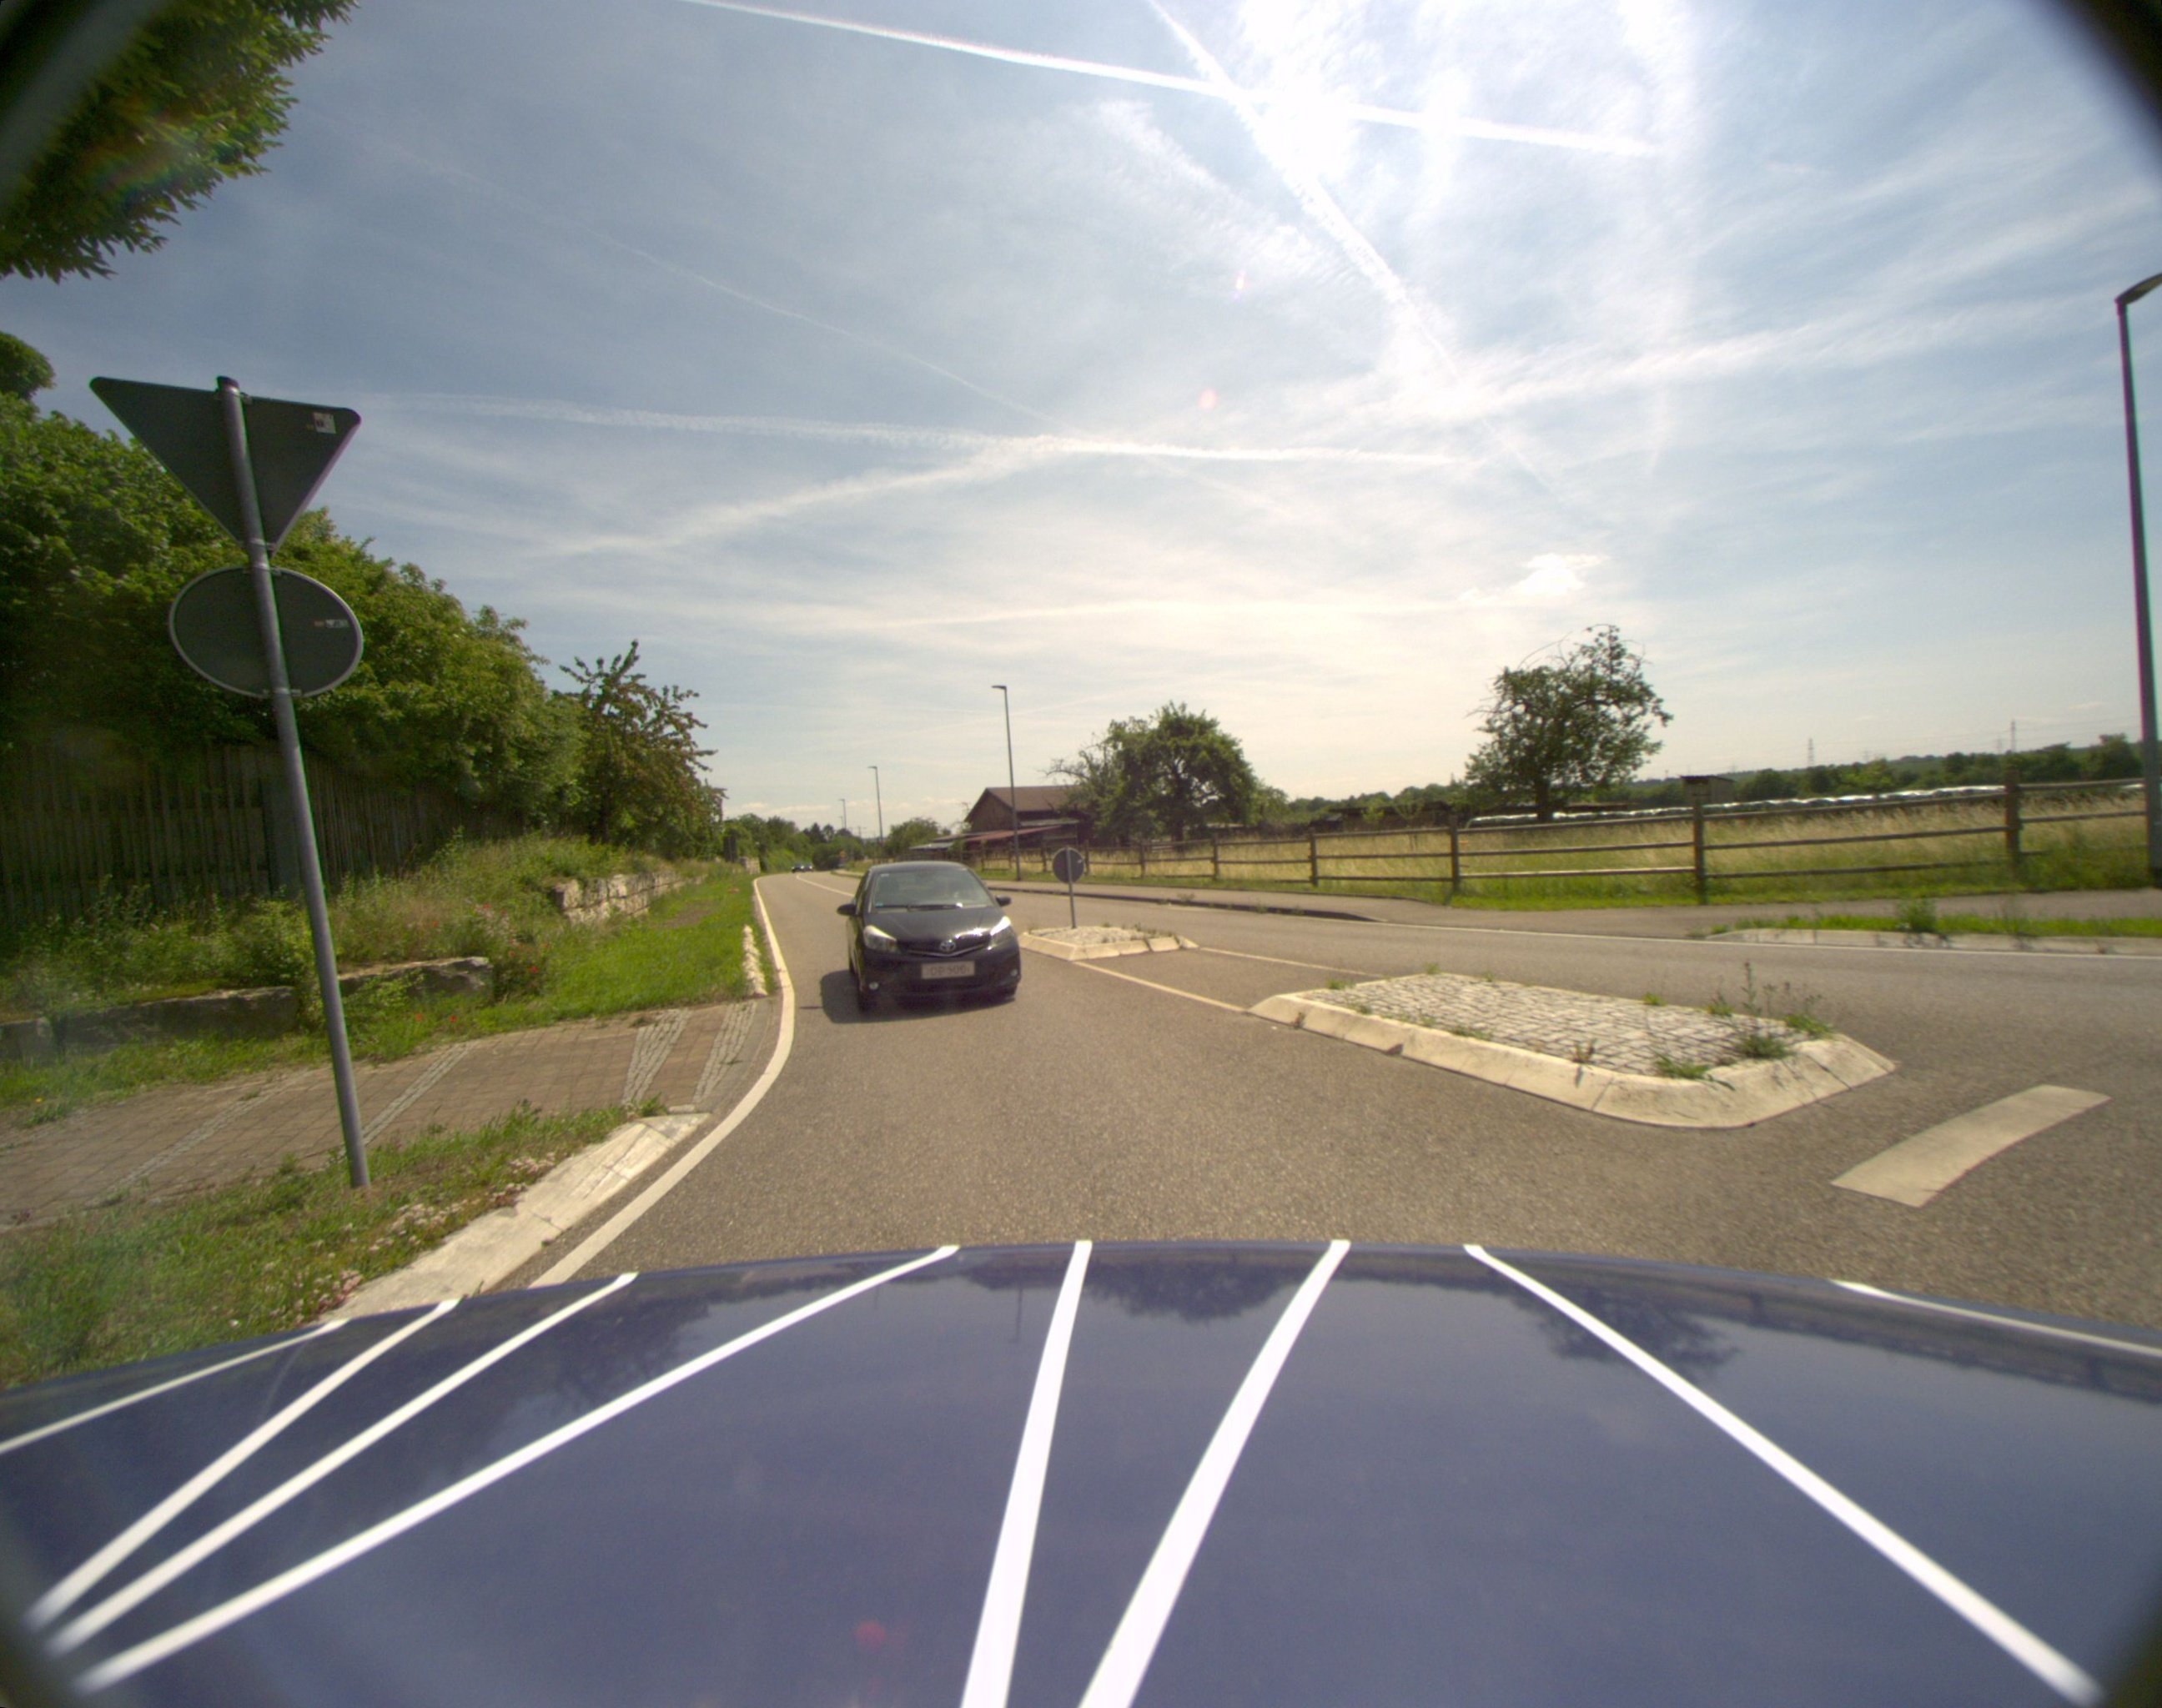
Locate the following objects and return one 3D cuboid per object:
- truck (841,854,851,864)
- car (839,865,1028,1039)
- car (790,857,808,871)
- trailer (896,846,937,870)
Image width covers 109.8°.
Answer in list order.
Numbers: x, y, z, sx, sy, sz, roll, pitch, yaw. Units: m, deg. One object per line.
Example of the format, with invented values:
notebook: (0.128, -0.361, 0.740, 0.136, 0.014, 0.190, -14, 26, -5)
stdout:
truck: (-54.565, 1.175, 176.386, 2.231, 2.280, 6.481, -4, 1, -17)
car: (-2.038, 0.932, 9.326, 1.679, 1.456, 4.425, -3, 1, -18)
car: (-44.534, 1.587, 119.894, 2.195, 2.002, 4.772, -6, 2, -23)
trailer: (-13.039, 0.306, 60.065, 2.164, 1.693, 5.019, -3, 1, -23)
